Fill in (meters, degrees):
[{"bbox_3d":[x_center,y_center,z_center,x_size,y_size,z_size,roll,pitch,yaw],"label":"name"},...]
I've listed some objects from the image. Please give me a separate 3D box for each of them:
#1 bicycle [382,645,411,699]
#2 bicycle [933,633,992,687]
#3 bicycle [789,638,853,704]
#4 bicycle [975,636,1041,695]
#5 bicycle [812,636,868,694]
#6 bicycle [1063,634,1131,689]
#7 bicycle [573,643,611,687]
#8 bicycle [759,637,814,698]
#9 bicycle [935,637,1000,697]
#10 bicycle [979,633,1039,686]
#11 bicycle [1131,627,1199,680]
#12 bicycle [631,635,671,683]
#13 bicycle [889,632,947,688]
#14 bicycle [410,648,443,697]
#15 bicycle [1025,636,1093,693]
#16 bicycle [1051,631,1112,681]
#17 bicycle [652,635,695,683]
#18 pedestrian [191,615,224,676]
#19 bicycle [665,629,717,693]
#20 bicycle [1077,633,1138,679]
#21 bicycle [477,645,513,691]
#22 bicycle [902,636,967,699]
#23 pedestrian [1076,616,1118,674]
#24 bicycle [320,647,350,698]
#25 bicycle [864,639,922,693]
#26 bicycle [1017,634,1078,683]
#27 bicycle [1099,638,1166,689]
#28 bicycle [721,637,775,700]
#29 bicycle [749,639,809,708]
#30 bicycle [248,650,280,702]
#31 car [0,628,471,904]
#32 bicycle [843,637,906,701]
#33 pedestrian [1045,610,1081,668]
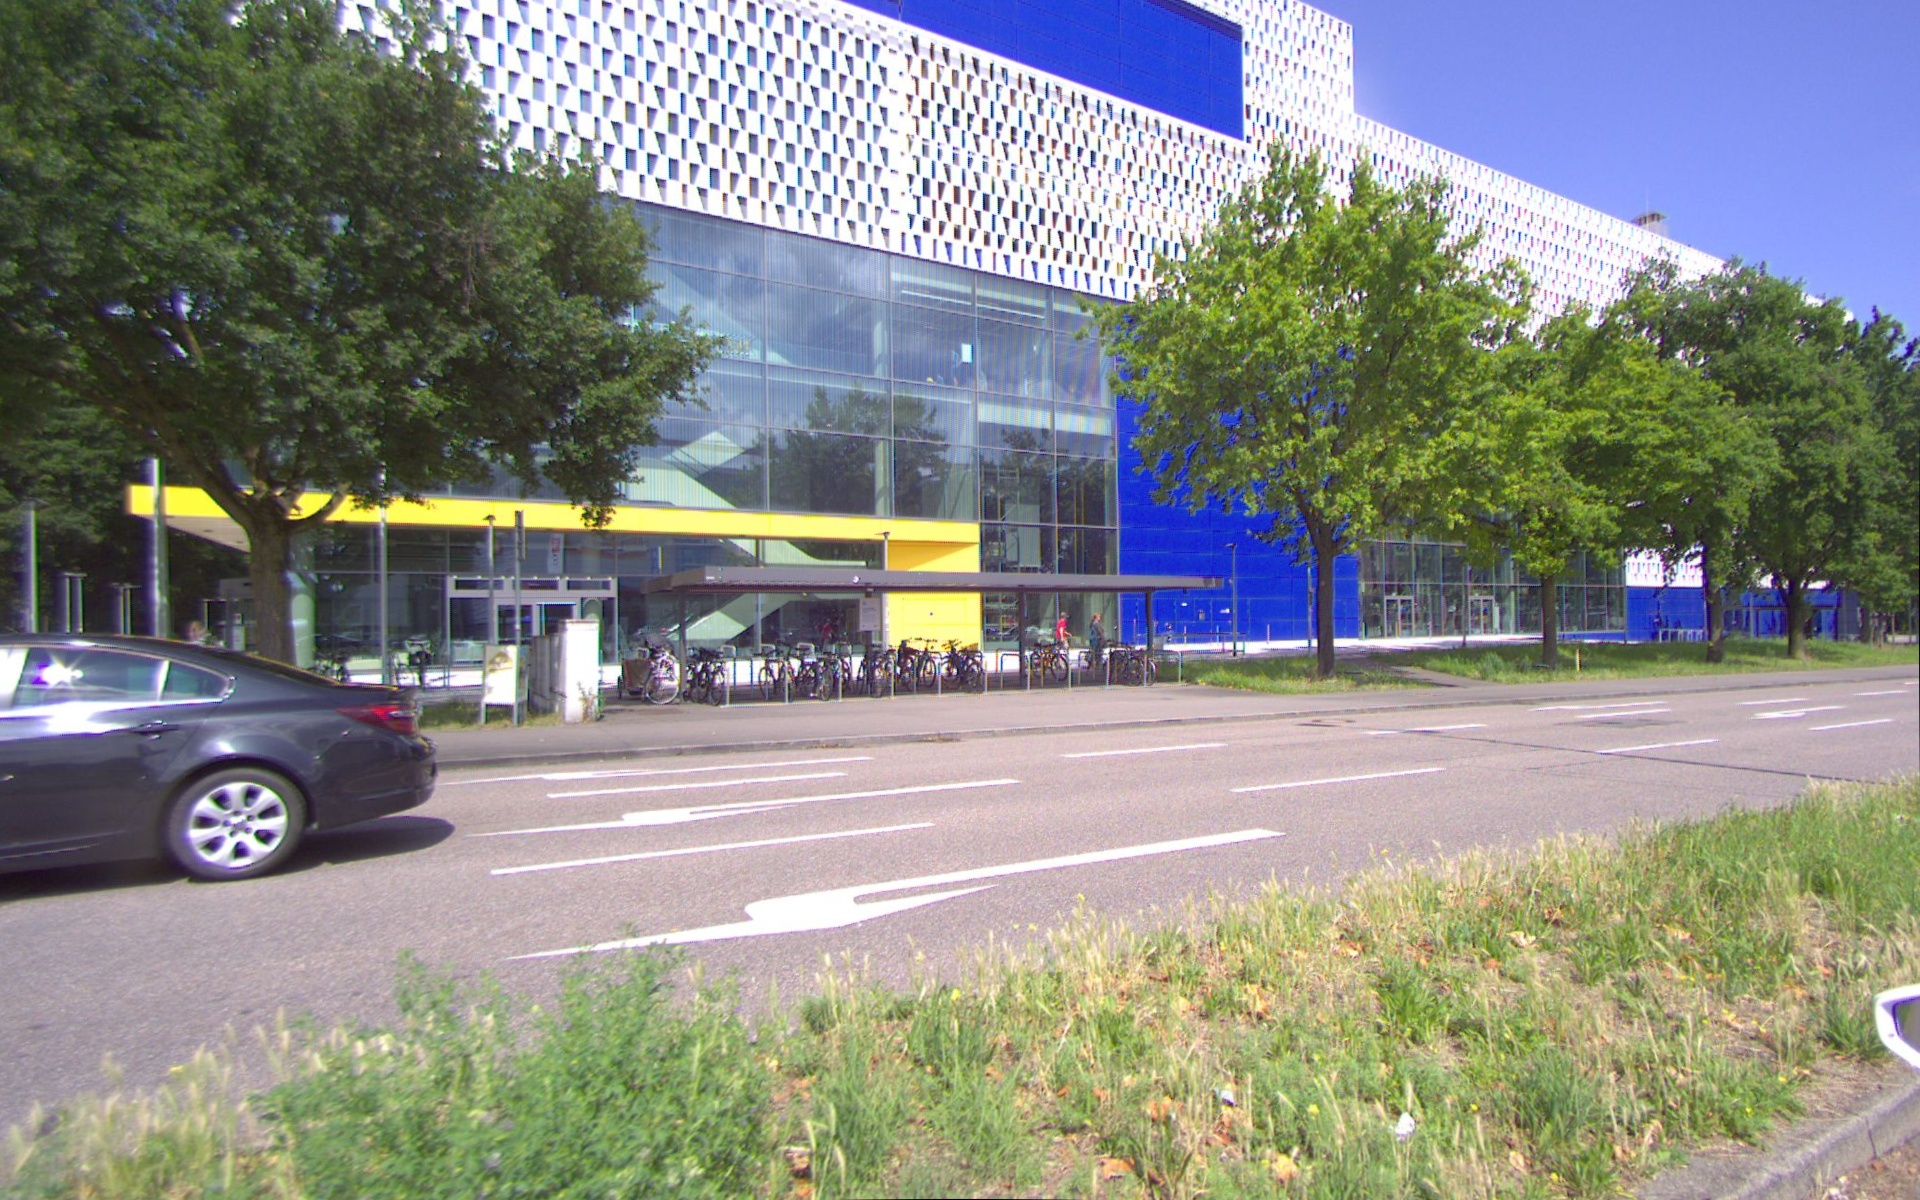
[{"bbox_3d":[-13.337,1.675,23.741,0.463,1.188,1.944,-1,0,-33],"label":"bicycle"},{"bbox_3d":[0.036,1.497,25.442,0.622,1.289,1.916,-1,0,-29],"label":"bicycle"},{"bbox_3d":[-2.990,1.486,21.451,0.622,1.289,2.080,-1,0,-29],"label":"bicycle"},{"bbox_3d":[1.111,1.517,23.680,0.622,1.289,1.916,-1,0,-29],"label":"bicycle"},{"bbox_3d":[-2.866,1.508,23.761,0.622,1.289,1.916,-1,0,-29],"label":"bicycle"},{"bbox_3d":[3.387,1.502,24.970,0.622,1.289,1.916,-1,0,-29],"label":"bicycle"},{"bbox_3d":[-9.730,1.705,26.535,0.523,1.084,1.922,1,-2,-33],"label":"bicycle"},{"bbox_3d":[-4.020,1.521,23.147,0.622,1.289,1.916,-1,0,-29],"label":"bicycle"},{"bbox_3d":[0.161,1.515,23.192,0.622,1.289,1.916,-1,0,-29],"label":"bicycle"},{"bbox_3d":[1.261,1.516,26.188,0.622,1.289,1.916,-1,0,-29],"label":"bicycle"},{"bbox_3d":[5.303,1.366,26.105,0.622,1.289,1.916,-1,0,-29],"label":"bicycle"},{"bbox_3d":[-8.432,1.587,27.349,0.523,1.225,1.922,1,-2,-33],"label":"bicycle"},{"bbox_3d":[-1.063,1.468,24.954,0.622,1.289,1.916,-1,0,-29],"label":"bicycle"},{"bbox_3d":[-12.886,1.726,24.246,0.523,1.084,1.922,1,-2,-33],"label":"bicycle"},{"bbox_3d":[2.364,1.527,24.239,0.622,1.289,1.916,-1,0,-29],"label":"bicycle"},{"bbox_3d":[3.294,1.514,27.448,0.622,1.289,1.916,-1,0,-29],"label":"bicycle"},{"bbox_3d":[-7.916,1.593,27.733,0.591,1.260,1.933,1,-2,-33],"label":"bicycle"},{"bbox_3d":[-21.855,1.309,29.185,0.703,1.729,0.890,1,-1,-35],"label":"pedestrian"},{"bbox_3d":[-5.836,1.287,21.731,0.622,1.289,1.916,-1,0,-29],"label":"bicycle"},{"bbox_3d":[4.101,1.537,28.048,0.622,1.199,1.916,-1,0,-29],"label":"bicycle"},{"bbox_3d":[-11.695,1.679,25.236,0.523,1.084,1.922,1,-2,-33],"label":"bicycle"},{"bbox_3d":[-0.593,1.475,22.460,0.622,1.289,1.916,-1,0,-29],"label":"bicycle"},{"bbox_3d":[4.195,1.357,30.772,0.876,1.725,0.946,0,-1,-30],"label":"pedestrian"},{"bbox_3d":[-14.405,1.642,23.136,0.523,1.084,1.922,1,-2,-33],"label":"bicycle"},{"bbox_3d":[-1.633,1.558,24.125,0.622,1.199,1.916,-1,0,-29],"label":"bicycle"},{"bbox_3d":[2.316,1.531,26.755,0.622,1.195,1.916,-1,0,-29],"label":"bicycle"},{"bbox_3d":[4.365,1.584,25.557,0.622,1.199,1.916,-1,0,-29],"label":"bicycle"},{"bbox_3d":[-4.776,1.503,22.525,0.622,1.289,1.916,-1,0,-29],"label":"bicycle"},{"bbox_3d":[-3.760,1.483,20.750,0.622,1.289,1.916,-1,0,-29],"label":"bicycle"},{"bbox_3d":[-15.653,1.684,22.609,0.523,1.084,1.922,1,-2,-33],"label":"bicycle"},{"bbox_3d":[-5.447,0.914,5.965,4.466,1.439,1.656,1,-4,-31],"label":"car"},{"bbox_3d":[-1.880,1.479,21.931,0.622,1.289,1.916,-1,0,-29],"label":"bicycle"},{"bbox_3d":[3.295,1.242,32.246,0.876,1.847,0.750,0,0,-30],"label":"pedestrian"}]
